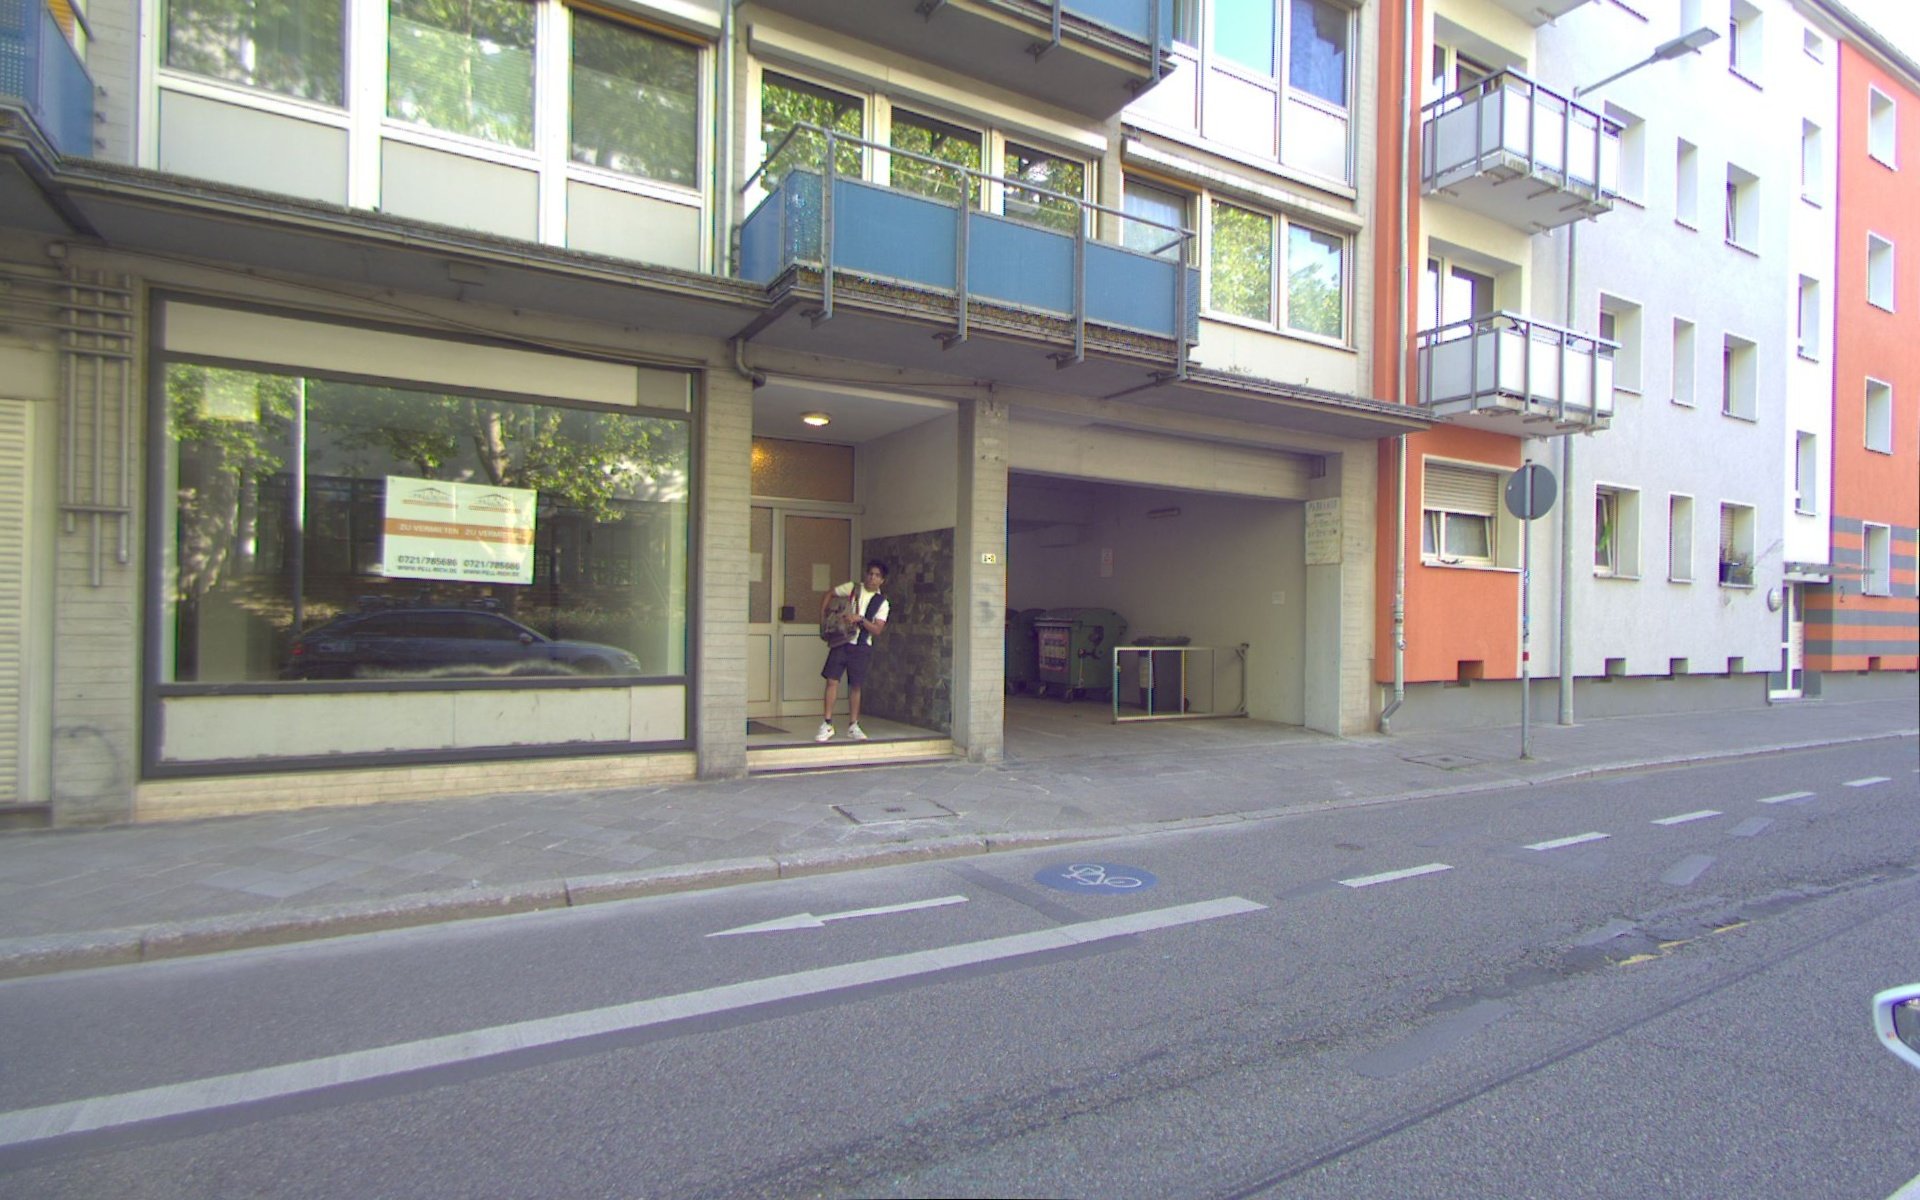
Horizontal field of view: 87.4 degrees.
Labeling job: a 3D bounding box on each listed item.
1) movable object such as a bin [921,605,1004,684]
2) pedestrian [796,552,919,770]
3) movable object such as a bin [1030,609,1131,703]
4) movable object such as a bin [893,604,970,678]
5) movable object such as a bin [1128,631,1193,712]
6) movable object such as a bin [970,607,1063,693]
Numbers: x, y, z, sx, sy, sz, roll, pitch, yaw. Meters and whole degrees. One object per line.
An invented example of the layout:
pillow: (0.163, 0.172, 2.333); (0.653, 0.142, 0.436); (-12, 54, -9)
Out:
movable object such as a bin: (0.033, 0.808, 18.697); (1.066, 1.384, 1.255); (2, 0, -27)
pedestrian: (-0.951, 0.541, 9.256); (0.882, 1.902, 0.703); (2, 0, -28)
movable object such as a bin: (1.886, 0.853, 15.813); (1.066, 1.384, 1.192); (2, 0, -27)
movable object such as a bin: (-0.575, 0.794, 19.866); (1.066, 1.384, 1.255); (2, 0, -27)
movable object such as a bin: (2.886, 1.013, 14.463); (0.650, 1.115, 0.626); (2, 0, -27)
movable object such as a bin: (0.944, 0.830, 17.128); (1.066, 1.384, 1.255); (2, 0, -27)
